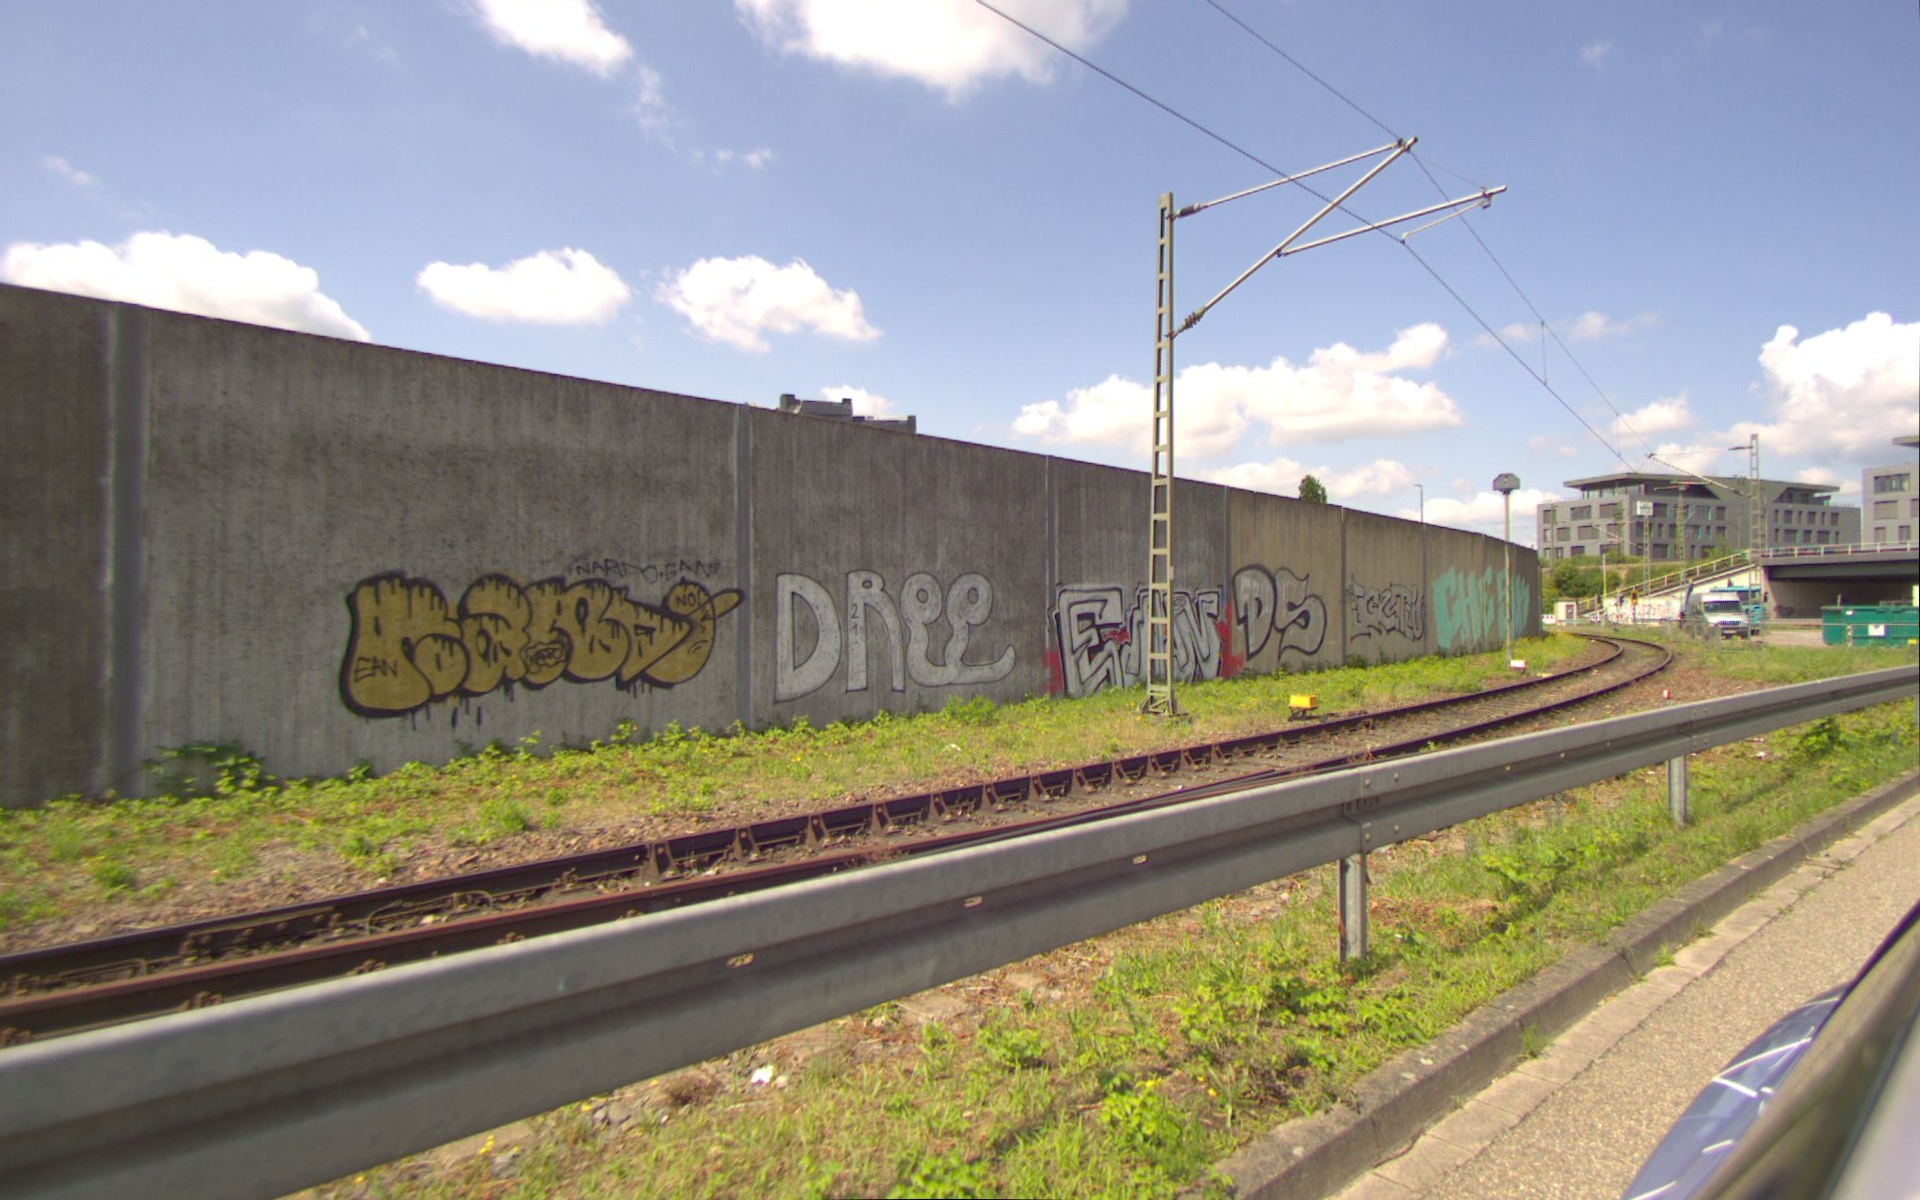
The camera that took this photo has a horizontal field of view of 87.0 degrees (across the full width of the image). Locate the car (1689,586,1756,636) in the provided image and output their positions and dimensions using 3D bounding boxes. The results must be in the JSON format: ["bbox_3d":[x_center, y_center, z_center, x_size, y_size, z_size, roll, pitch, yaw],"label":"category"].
[{"bbox_3d":[41.844,0.579,55.662,2.048,2.559,5.822,-2,-1,29],"label":"car"}]

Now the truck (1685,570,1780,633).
[{"bbox_3d":[49.067,0.071,64.468,2.621,3.692,6.845,-2,0,19],"label":"truck"}]

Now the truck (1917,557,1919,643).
[{"bbox_3d":[38.305,0.037,37.541,2.976,3.462,8.010,0,0,36],"label":"truck"}]
